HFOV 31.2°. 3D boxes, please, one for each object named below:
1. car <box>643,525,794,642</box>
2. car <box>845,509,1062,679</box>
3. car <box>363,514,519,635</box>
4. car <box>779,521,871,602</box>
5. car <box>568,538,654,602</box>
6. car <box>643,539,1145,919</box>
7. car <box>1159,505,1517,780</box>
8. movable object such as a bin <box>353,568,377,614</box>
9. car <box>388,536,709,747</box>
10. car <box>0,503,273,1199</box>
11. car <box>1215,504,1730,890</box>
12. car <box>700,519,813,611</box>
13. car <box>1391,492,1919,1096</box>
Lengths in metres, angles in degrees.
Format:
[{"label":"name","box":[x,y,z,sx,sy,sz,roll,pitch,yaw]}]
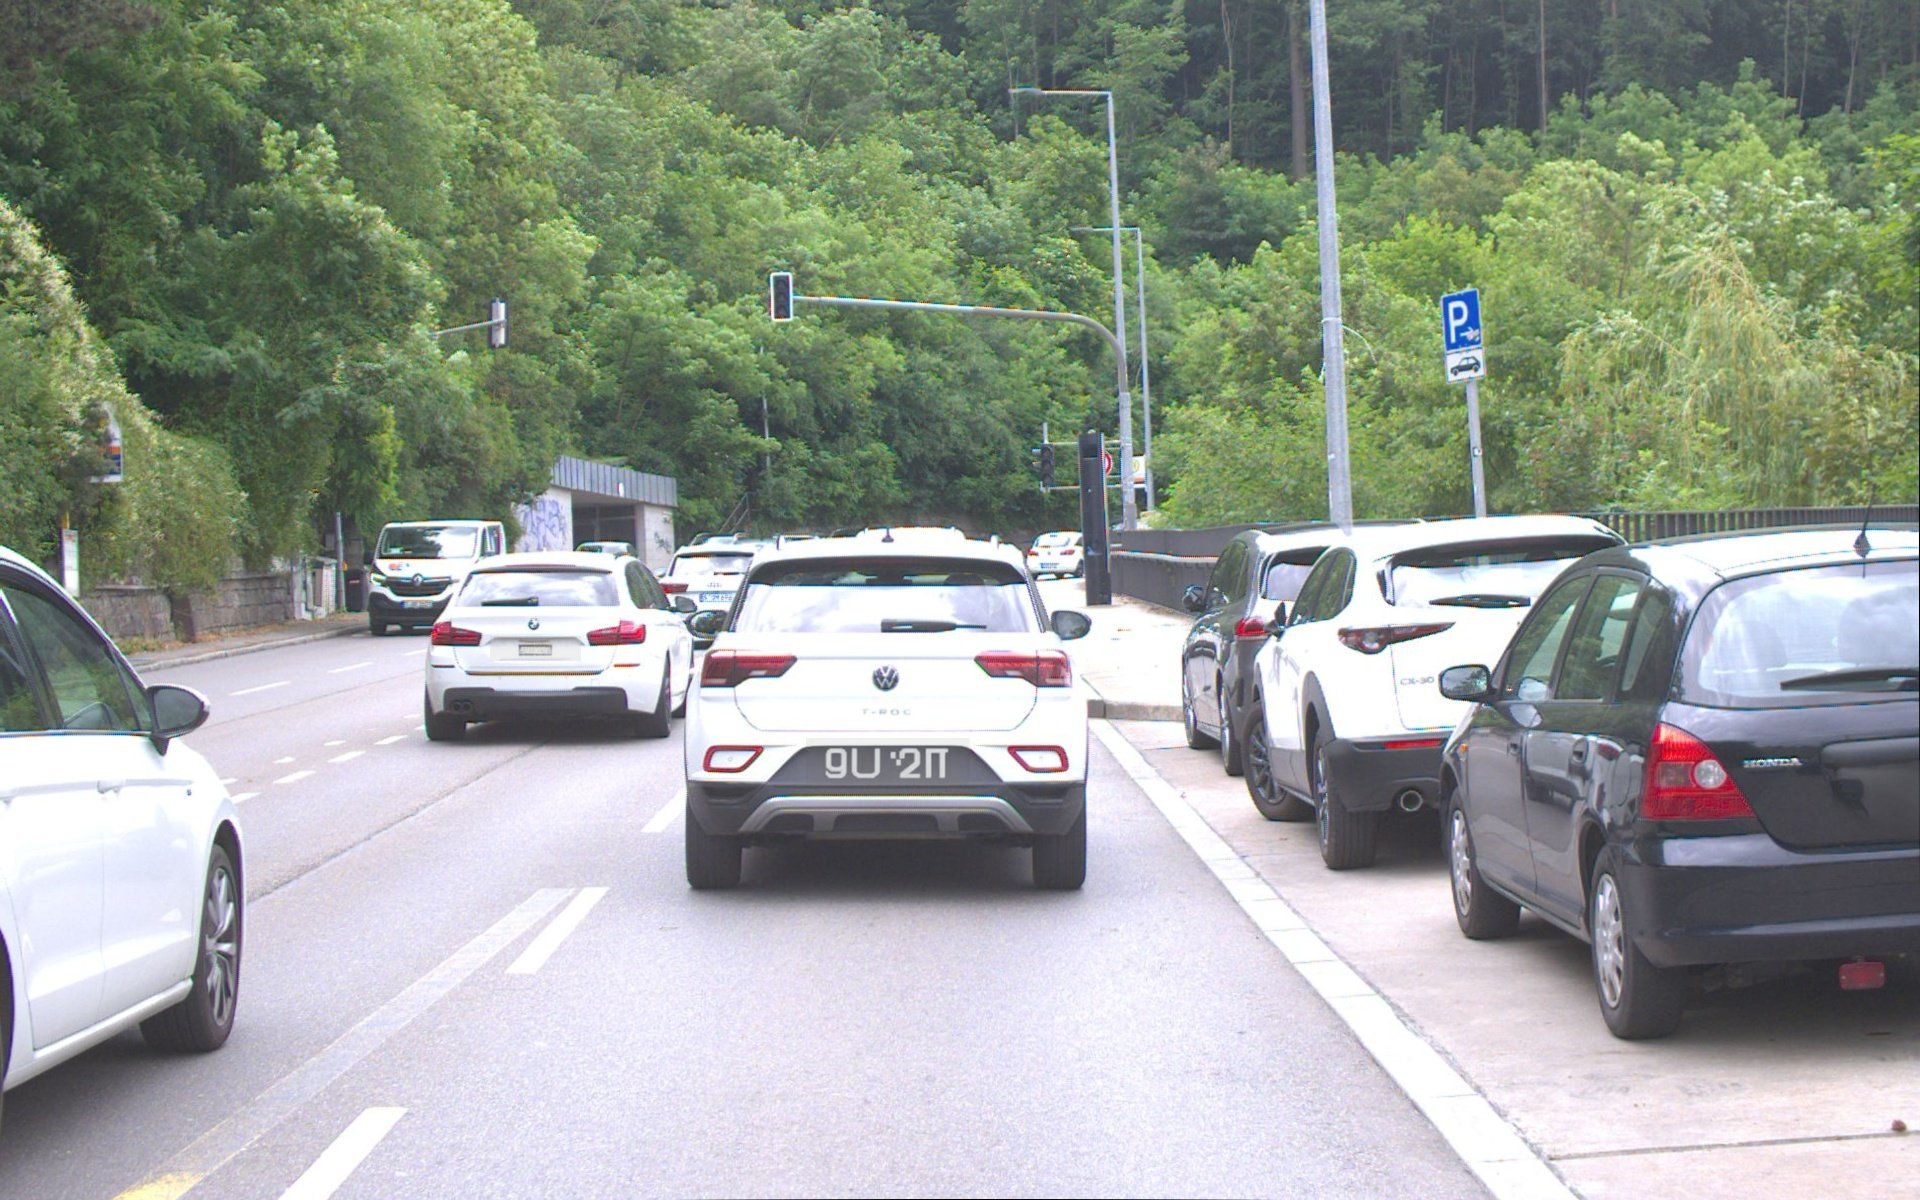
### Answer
[{"label":"car","box":[-3.415,-0.221,49.288,1.862,1.589,4.000,1,0,0]},{"label":"car","box":[-0.017,-0.090,39.714,1.994,1.837,4.149,1,1,7]},{"label":"car","box":[-9.082,-0.481,60.602,1.921,1.998,5.356,-1,1,0]},{"label":"car","box":[-3.173,-0.927,81.363,1.993,1.858,4.000,-1,1,0]},{"label":"car","box":[-8.851,-0.775,87.484,1.676,1.437,4.234,1,3,1]},{"label":"car","box":[-0.176,0.509,16.289,1.814,1.534,4.007,-2,1,7]},{"label":"car","box":[2.425,0.220,23.096,1.757,1.538,4.427,-4,1,-1]},{"label":"movable object such as a bin","box":[-12.418,-0.194,71.714,0.427,0.947,0.479,0,0,-2]},{"label":"car","box":[-3.221,0.268,27.815,1.993,1.552,4.681,0,1,1]},{"label":"car","box":[-3.023,0.550,8.830,1.720,1.549,4.276,-1,1,-1]},{"label":"car","box":[2.347,0.387,16.906,1.726,1.563,4.624,-3,1,-1]},{"label":"car","box":[-3.965,-0.699,67.582,1.993,1.735,4.000,-1,1,0]},{"label":"car","box":[2.616,0.473,11.493,1.659,1.566,4.255,-4,1,-1]}]
